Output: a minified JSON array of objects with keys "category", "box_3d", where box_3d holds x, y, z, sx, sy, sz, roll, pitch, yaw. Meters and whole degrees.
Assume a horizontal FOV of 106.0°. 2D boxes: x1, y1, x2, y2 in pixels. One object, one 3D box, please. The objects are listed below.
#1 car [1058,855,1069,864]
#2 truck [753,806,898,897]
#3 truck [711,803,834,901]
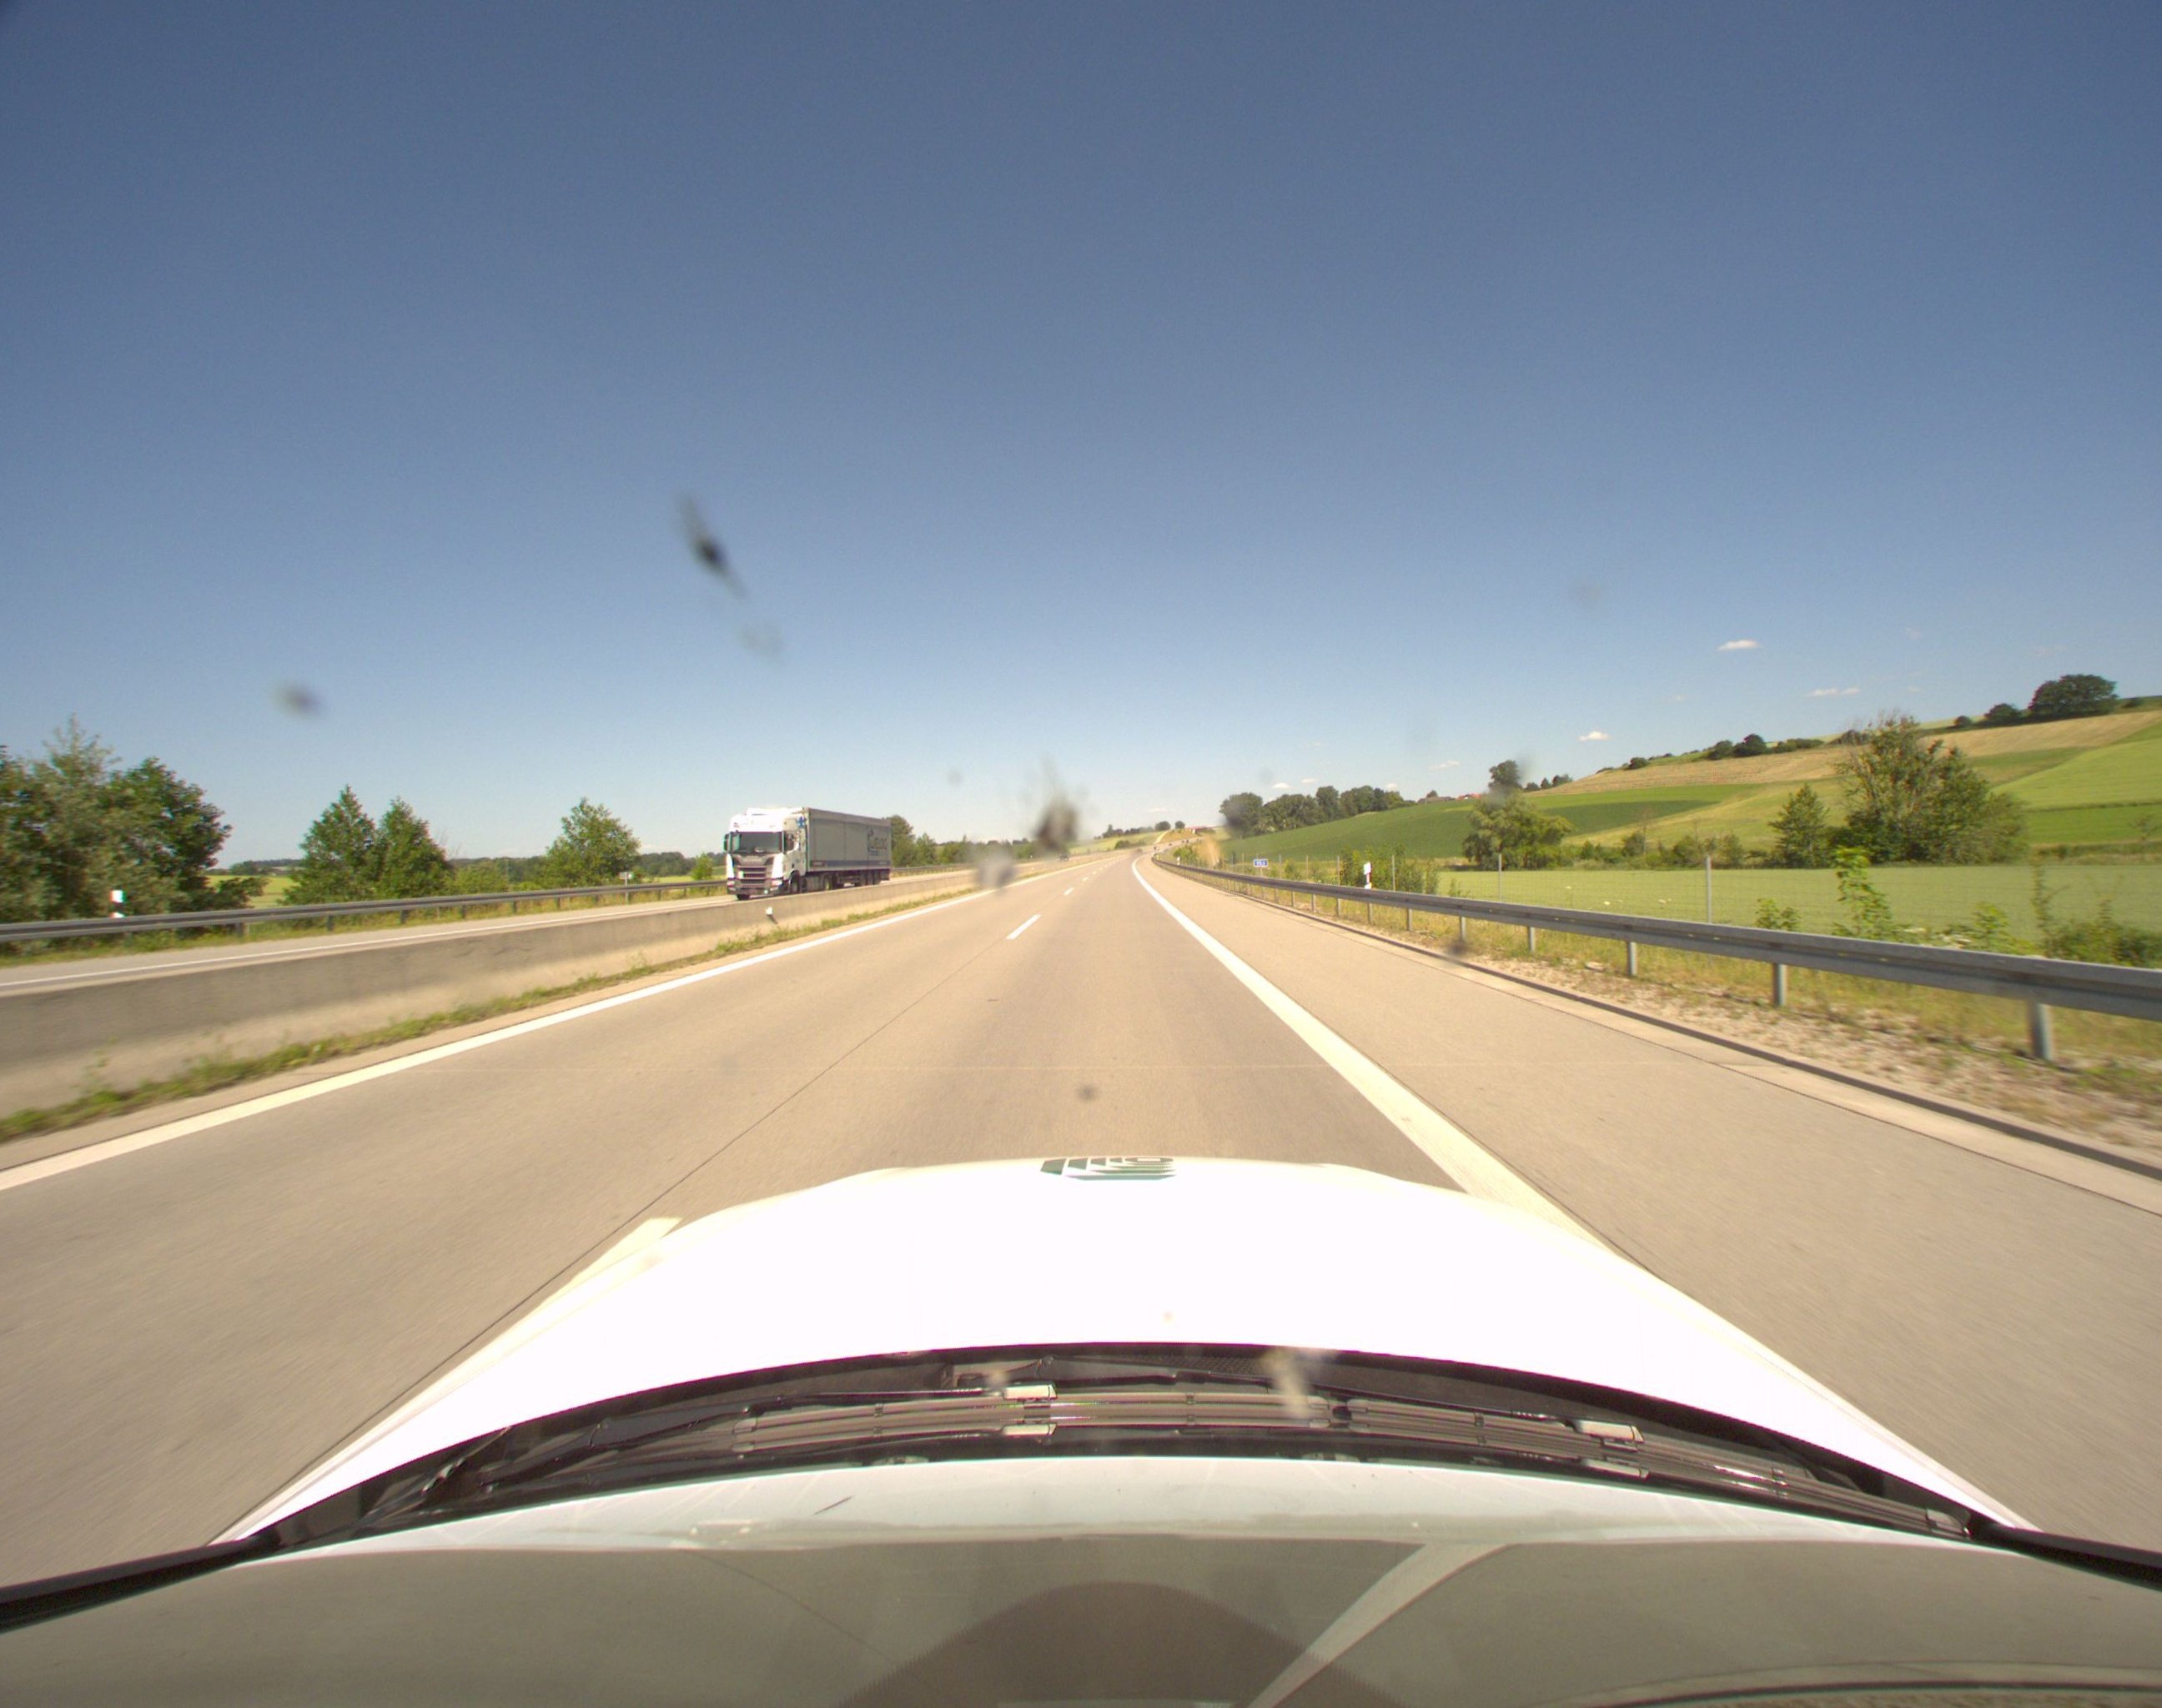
[{"category":"car","box_3d":[-3.280,1.092,154.800,1.704,1.589,4.629,0,-1,2]},{"category":"truck","box_3d":[-13.109,-0.081,43.792,2.848,4.008,13.875,-2,0,2]},{"category":"truck","box_3d":[-13.416,-0.066,36.046,2.850,3.873,5.987,-2,0,2]}]
